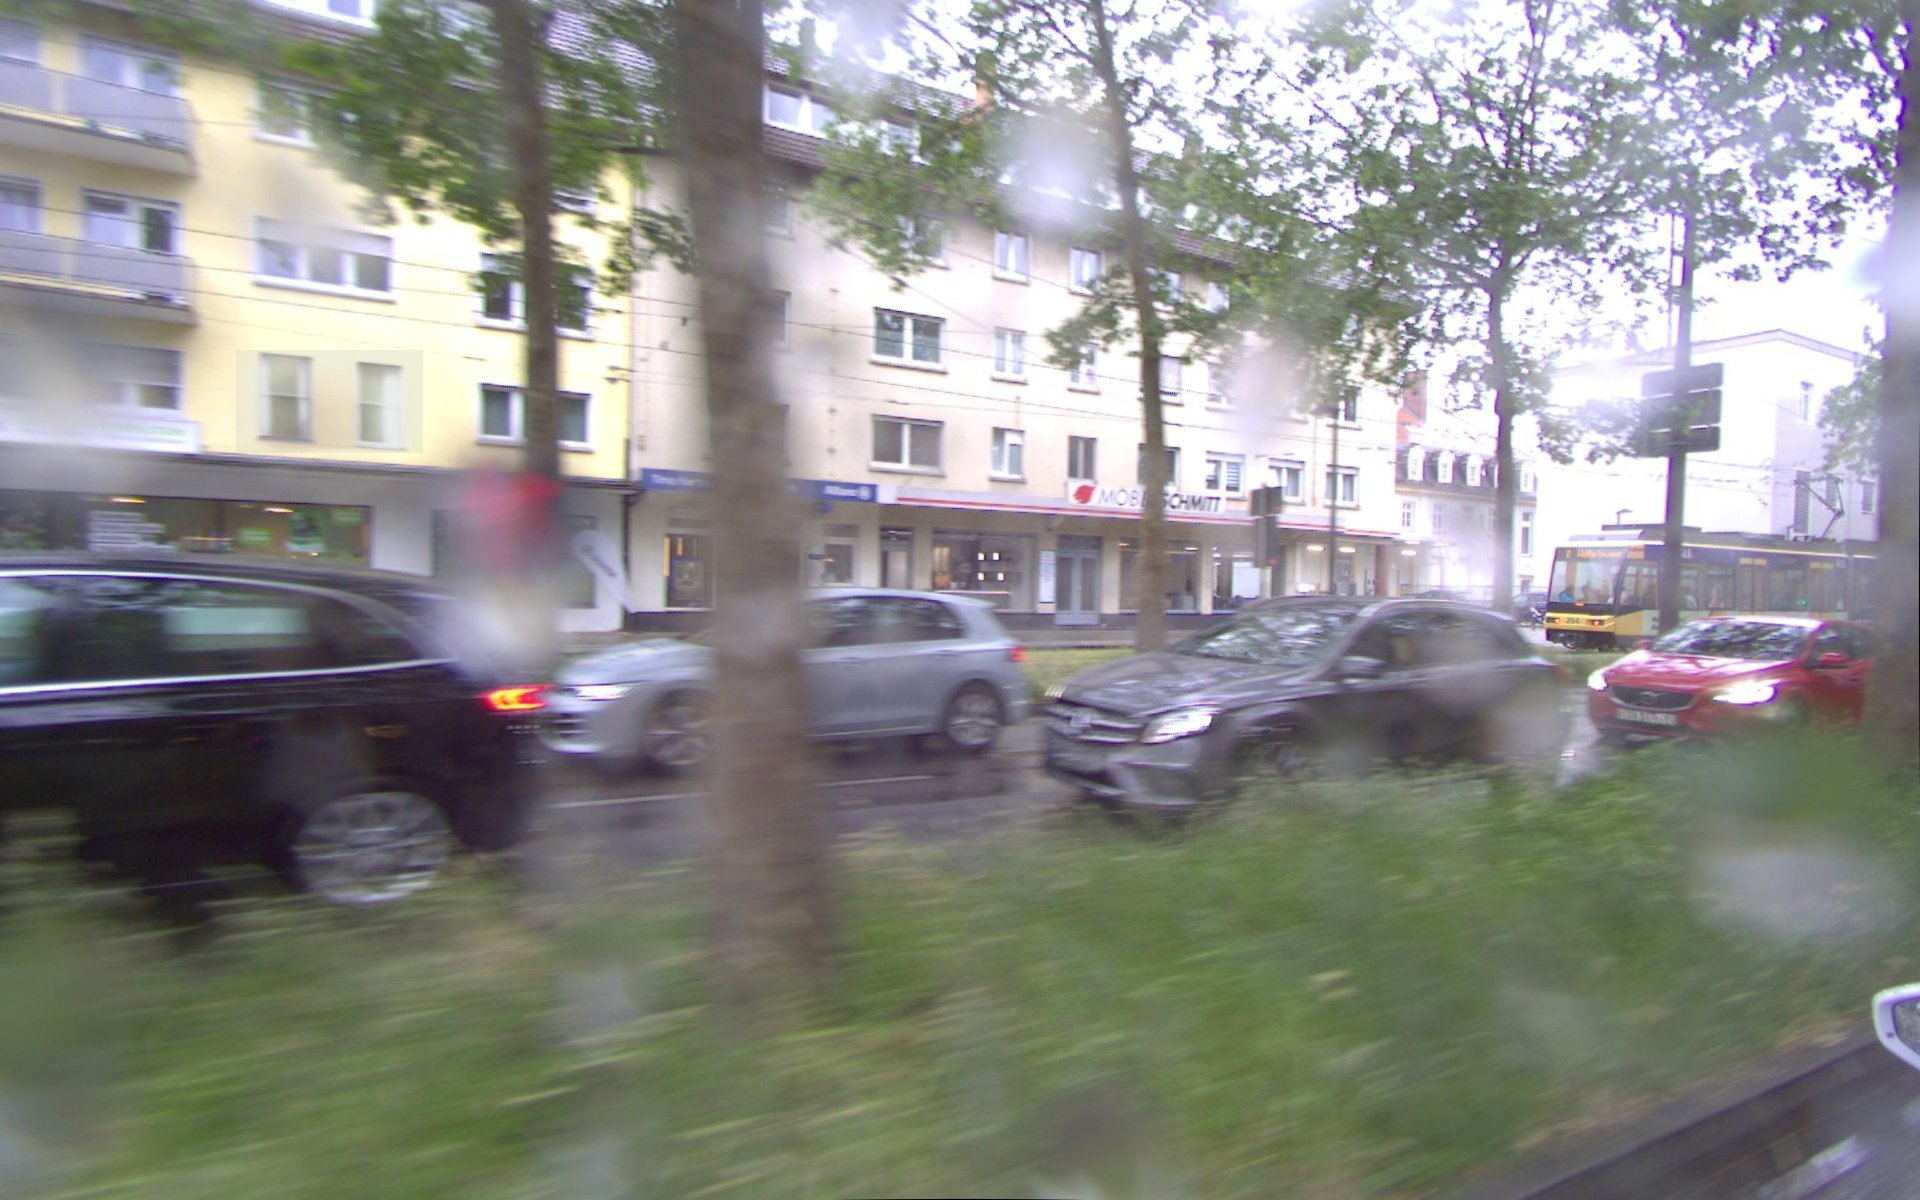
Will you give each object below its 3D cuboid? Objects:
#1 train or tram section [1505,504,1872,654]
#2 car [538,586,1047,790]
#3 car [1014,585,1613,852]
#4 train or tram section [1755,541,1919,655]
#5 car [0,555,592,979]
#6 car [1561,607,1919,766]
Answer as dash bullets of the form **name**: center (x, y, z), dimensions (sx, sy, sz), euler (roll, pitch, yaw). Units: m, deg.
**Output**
- **train or tram section**: center (22.011, -0.354, 29.781), dimensions (14.405, 3.605, 3.091), euler (2, 0, -30)
- **car**: center (-1.423, 0.626, 8.831), dimensions (4.079, 1.416, 1.734), euler (1, 1, -29)
- **car**: center (2.722, 0.682, 7.517), dimensions (4.377, 1.500, 1.734), euler (1, 1, -29)
- **train or tram section**: center (34.545, 0.148, 36.929), dimensions (14.501, 3.605, 3.091), euler (2, 0, -30)
- **car**: center (-4.093, 0.567, 4.221), dimensions (4.582, 1.505, 1.848), euler (1, 1, -29)
- **car**: center (8.748, 0.826, 11.103), dimensions (4.181, 1.416, 1.734), euler (1, 1, -29)
